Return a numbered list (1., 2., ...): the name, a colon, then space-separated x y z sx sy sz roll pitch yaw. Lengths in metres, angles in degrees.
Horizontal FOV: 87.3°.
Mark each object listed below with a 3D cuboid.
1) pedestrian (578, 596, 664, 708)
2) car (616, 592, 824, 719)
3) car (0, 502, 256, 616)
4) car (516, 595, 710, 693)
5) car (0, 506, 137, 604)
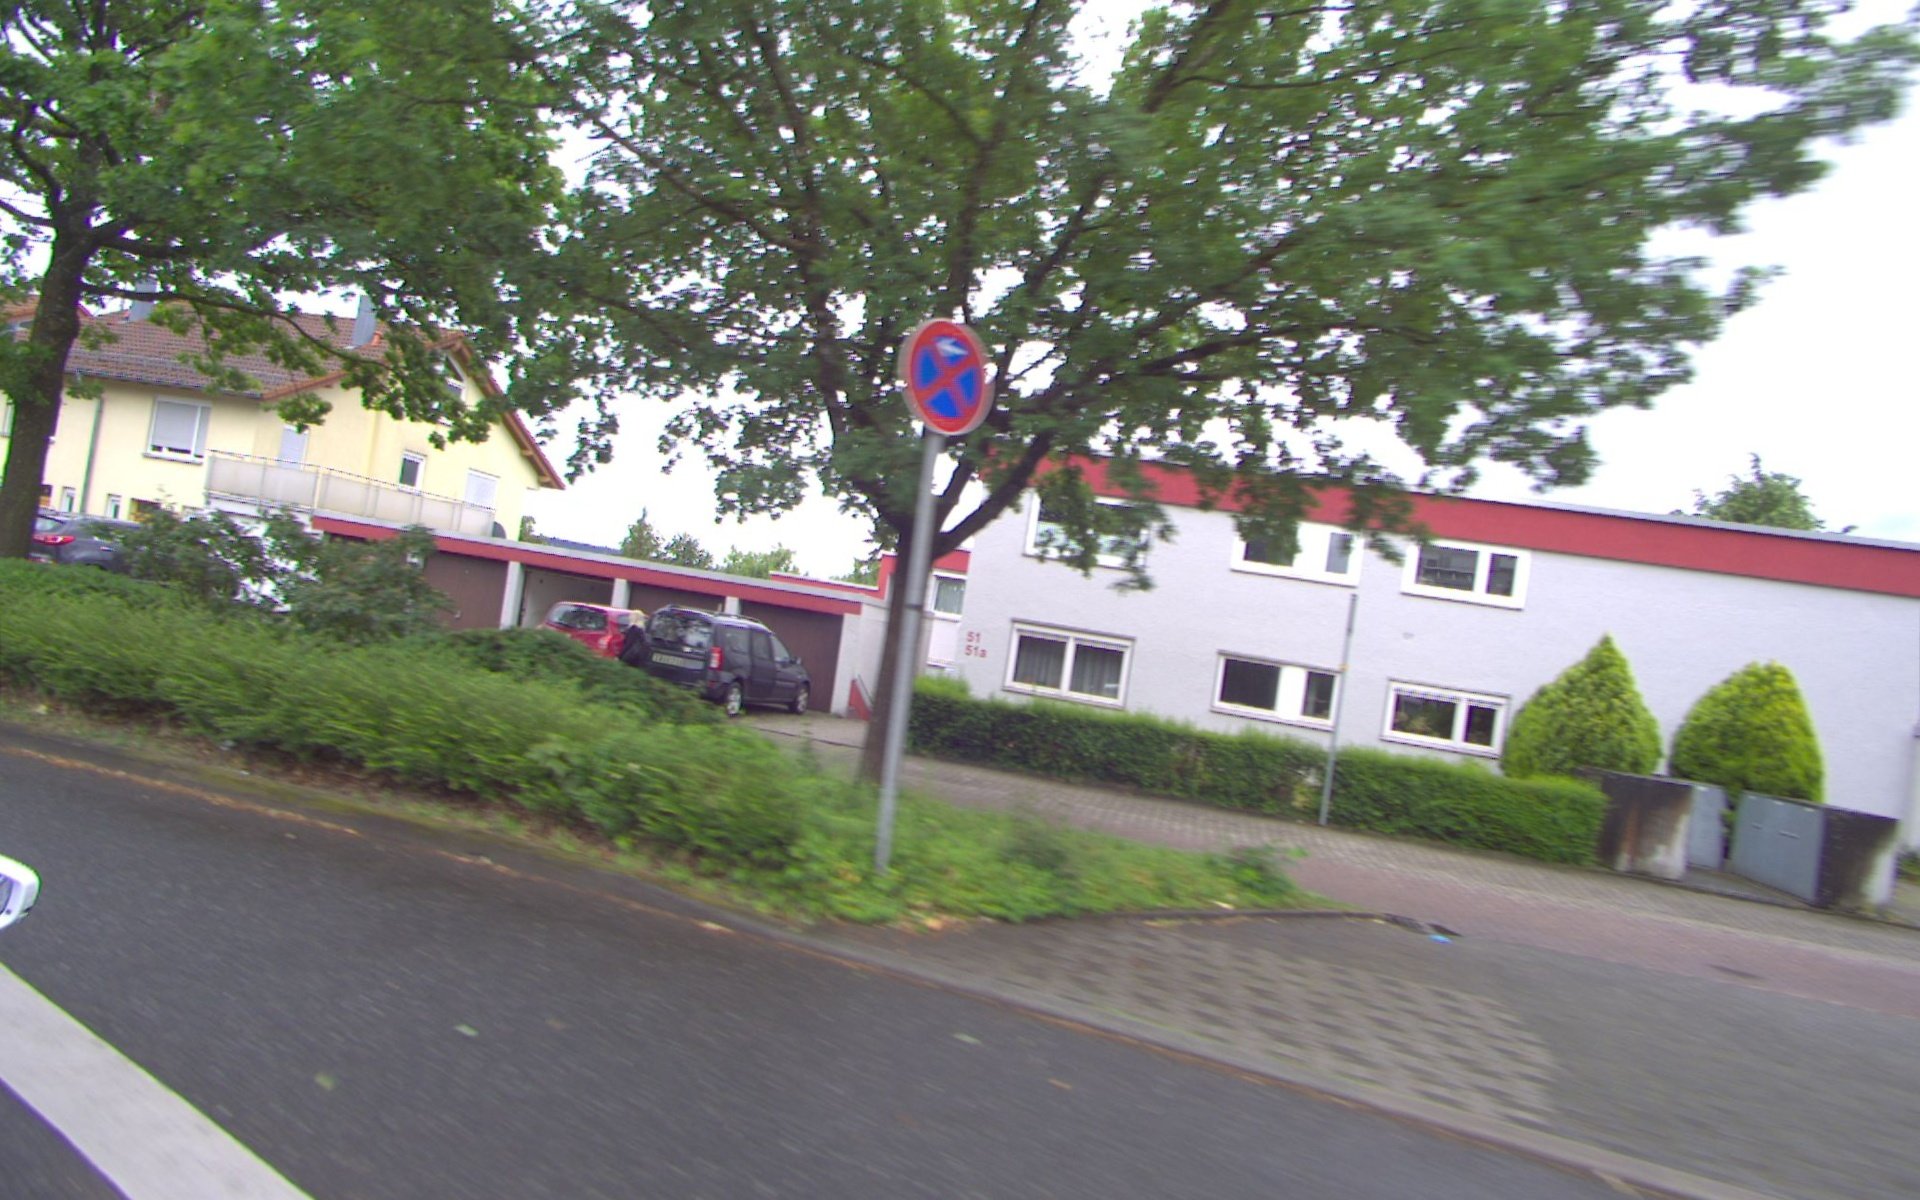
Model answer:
1. pedestrian: -5.196 0.805 15.453 0.826 1.575 0.667 8 -2 7
2. car: -4.072 1.021 17.843 1.887 1.740 4.007 8 -3 11
3. car: -17.358 -0.783 20.774 1.954 1.690 4.201 8 -3 14
4. car: -6.426 0.890 19.091 1.674 1.457 3.711 8 -3 11
5. car: -20.354 -1.092 21.429 1.689 1.688 4.205 8 -5 6
